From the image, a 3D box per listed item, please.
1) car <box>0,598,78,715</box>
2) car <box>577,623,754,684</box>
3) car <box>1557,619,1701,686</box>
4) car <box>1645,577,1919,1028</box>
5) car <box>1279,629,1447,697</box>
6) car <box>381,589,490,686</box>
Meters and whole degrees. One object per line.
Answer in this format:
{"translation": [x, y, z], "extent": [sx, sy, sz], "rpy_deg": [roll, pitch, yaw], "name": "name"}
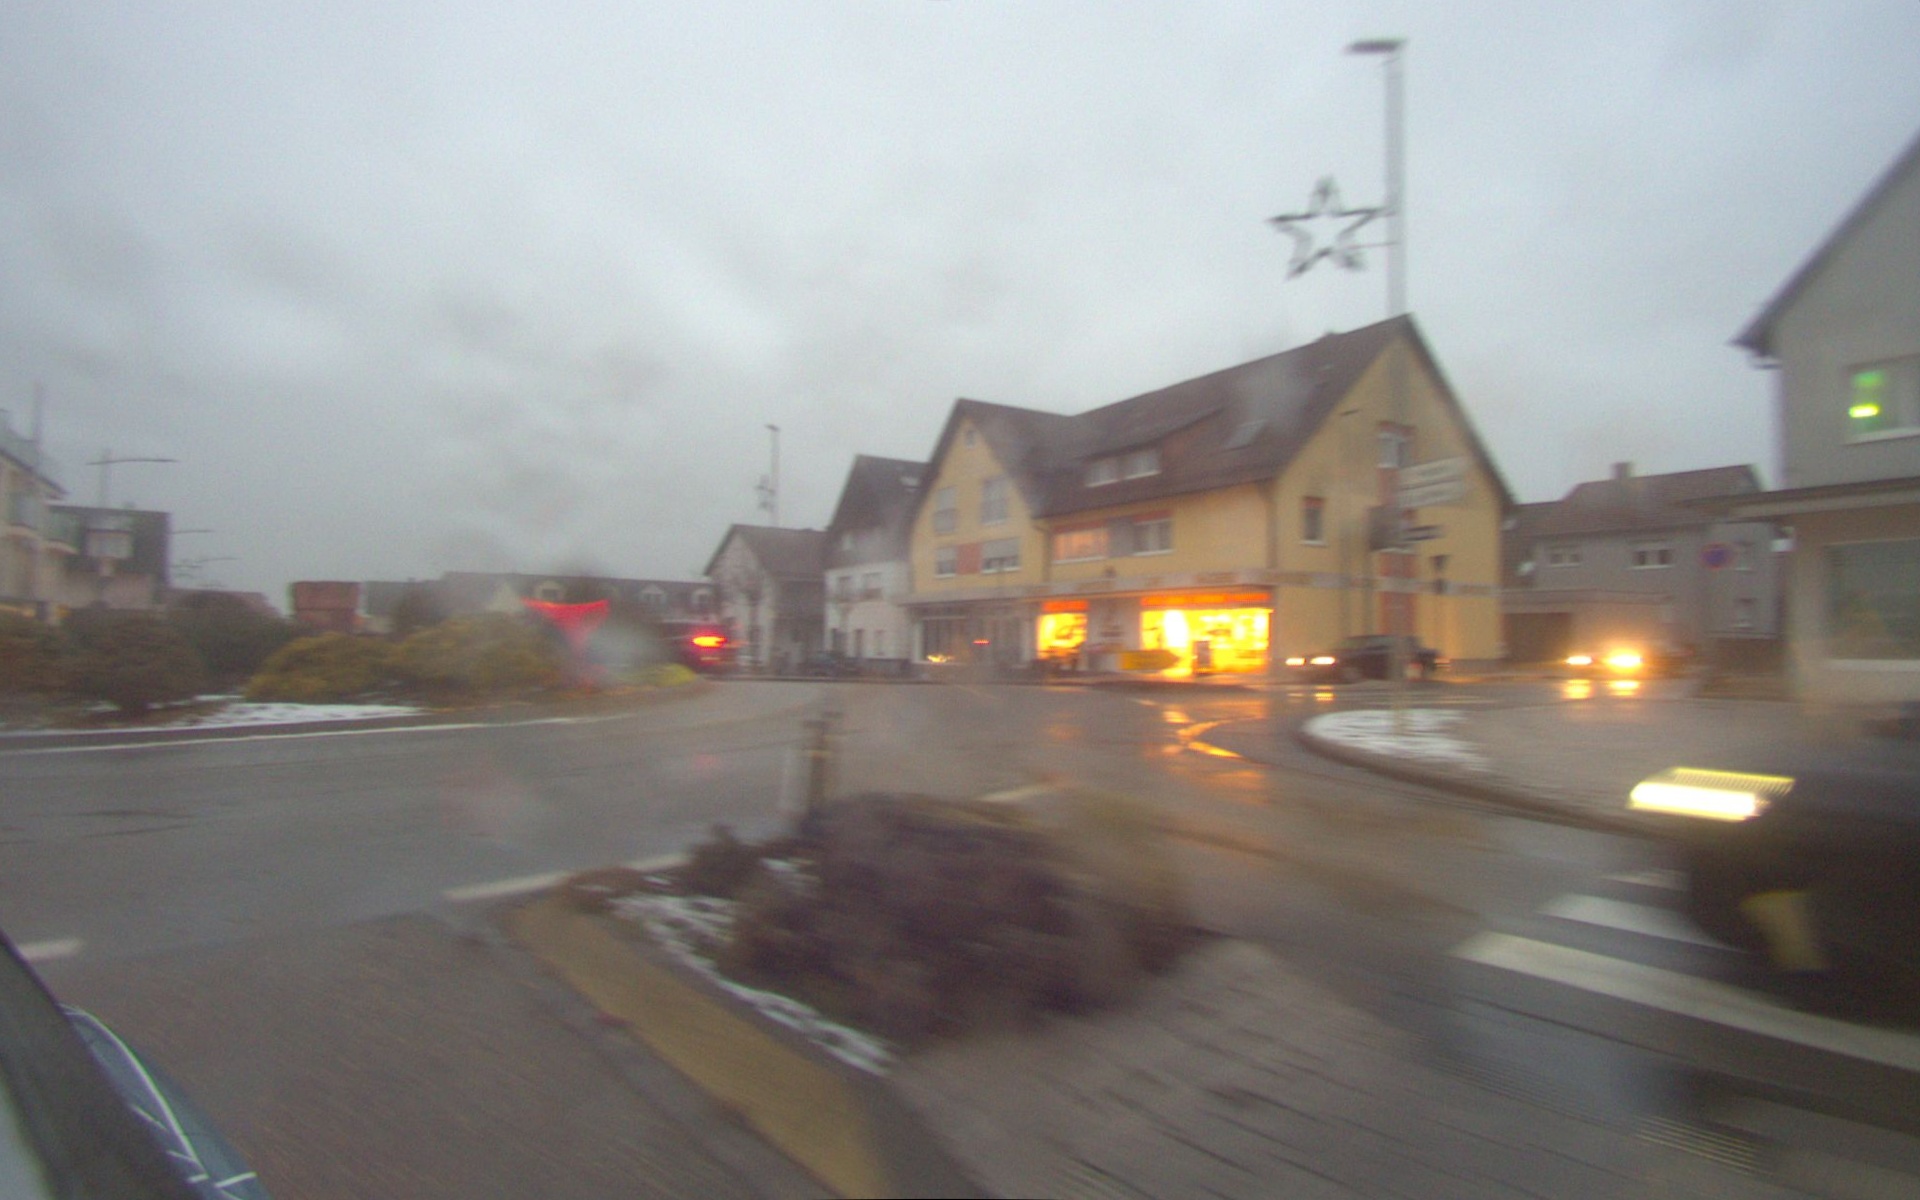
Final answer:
{"translation": [-13.856, 0.724, 14.178], "extent": [2.141, 1.488, 4.004], "rpy_deg": [0, 0, -43], "name": "car"}
{"translation": [-8.345, 1.480, 28.825], "extent": [4.489, 1.612, 1.863], "rpy_deg": [0, -1, 11], "name": "car"}
{"translation": [22.048, 1.669, 33.356], "extent": [4.387, 2.029, 2.007], "rpy_deg": [0, 0, -26], "name": "car"}
{"translation": [4.577, 0.657, 2.952], "extent": [1.679, 1.515, 3.908], "rpy_deg": [1, -2, -35], "name": "car"}
{"translation": [11.084, 1.670, 27.811], "extent": [4.298, 1.617, 1.895], "rpy_deg": [0, 0, -26], "name": "car"}
{"translation": [-11.986, 0.763, 23.315], "extent": [2.023, 2.002, 4.552], "rpy_deg": [0, 0, -26], "name": "car"}
